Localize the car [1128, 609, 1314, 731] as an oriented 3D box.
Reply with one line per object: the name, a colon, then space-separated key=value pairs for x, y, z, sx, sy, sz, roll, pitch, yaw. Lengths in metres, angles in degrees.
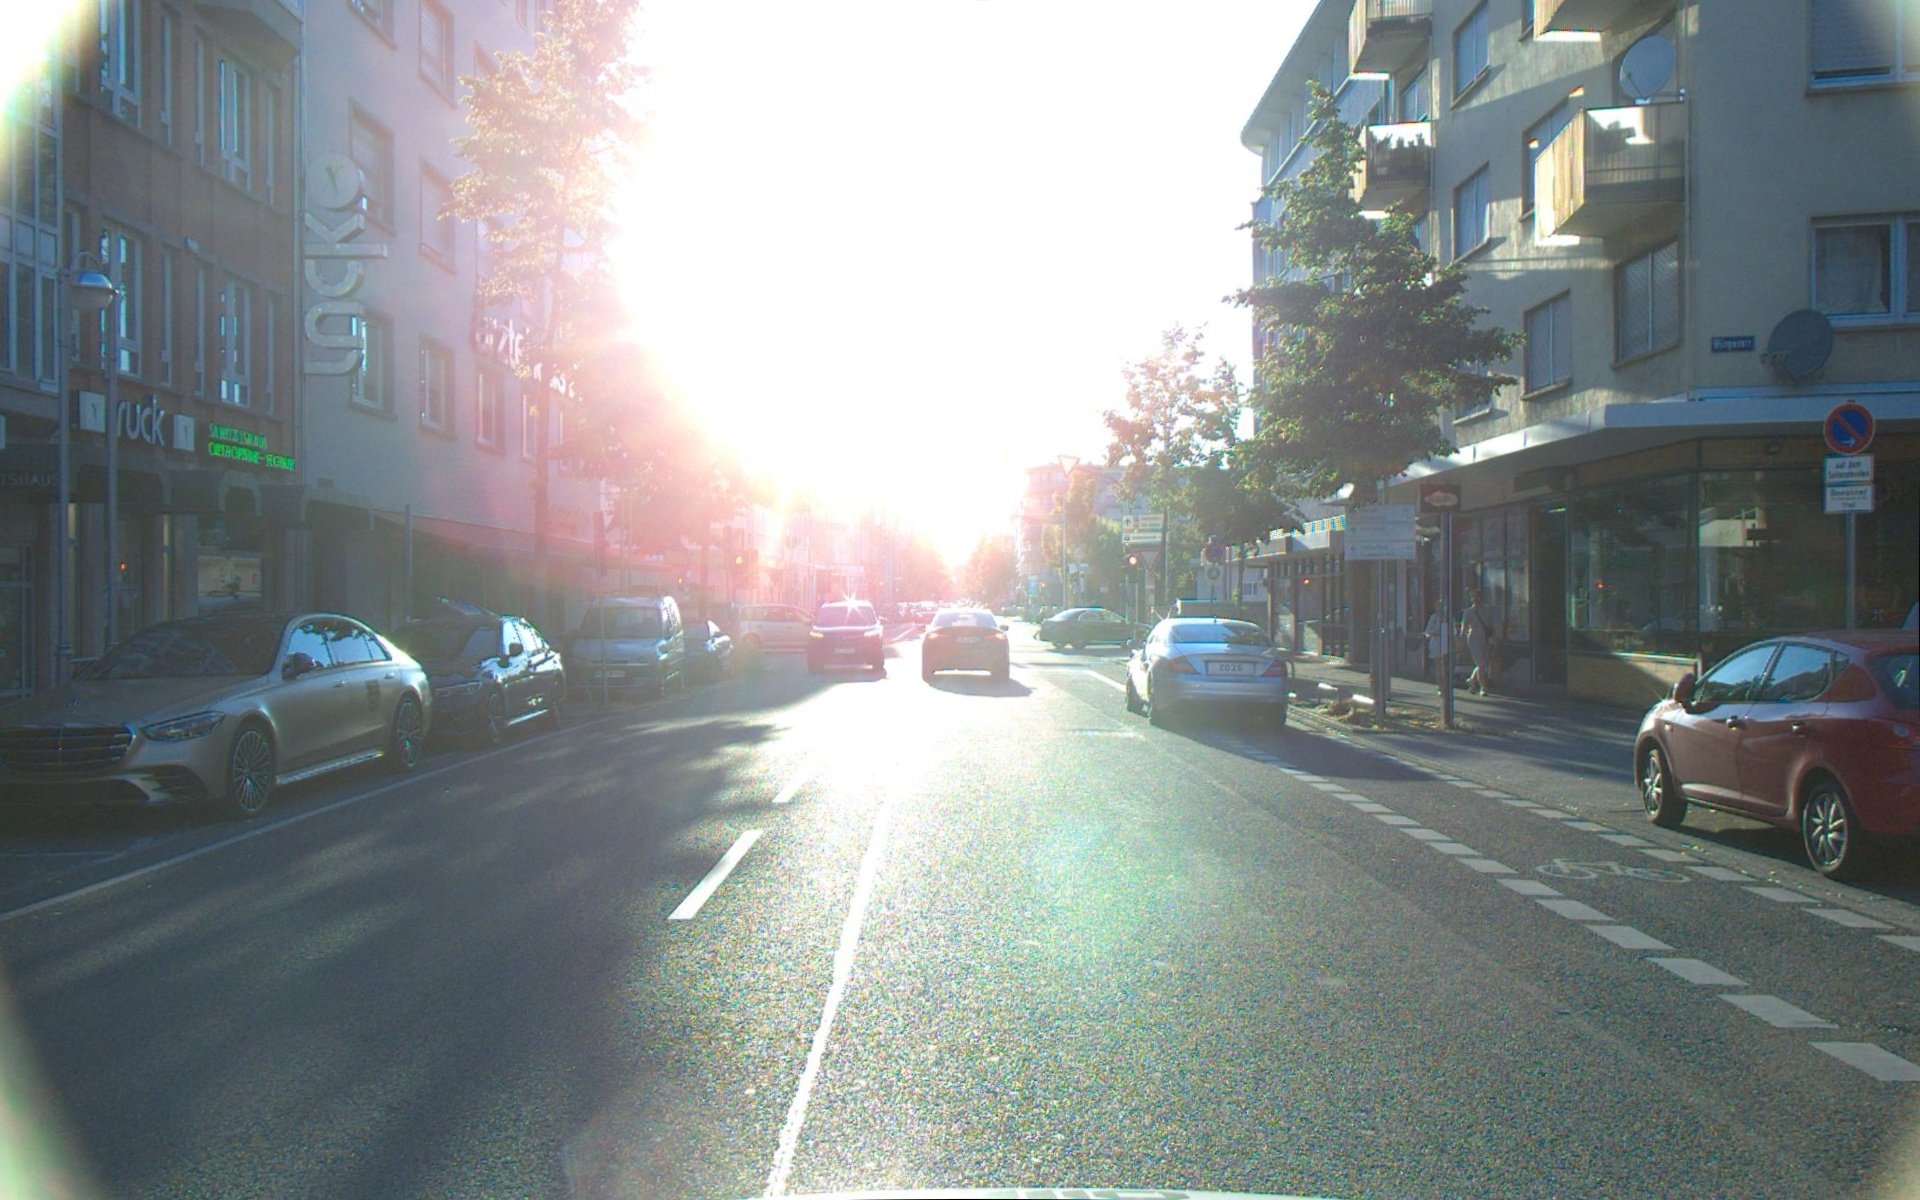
car: x=3.503 y=0.888 z=23.025 sx=1.882 sy=1.440 sz=4.548 roll=2 pitch=0 yaw=1

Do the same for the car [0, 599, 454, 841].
car: x=-5.970 y=0.819 z=13.800 sx=1.789 sy=1.583 sz=5.136 roll=-2 pitch=0 yaw=1

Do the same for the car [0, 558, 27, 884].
car: x=-6.278 y=0.714 z=6.919 sx=1.790 sy=1.842 sz=5.347 roll=-2 pitch=0 yaw=-2

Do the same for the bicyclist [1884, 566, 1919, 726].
bicyclist: x=10.823 y=0.497 z=18.176 sx=1.069 sy=1.732 sz=0.652 roll=0 pitch=0 yaw=20

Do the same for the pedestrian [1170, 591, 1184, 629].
pedestrian: x=10.281 y=0.470 z=78.442 sx=0.487 sy=1.745 sz=0.460 roll=0 pitch=1 yaw=-20

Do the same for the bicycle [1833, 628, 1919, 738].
bicycle: x=10.739 y=0.904 z=18.204 sx=1.886 sy=1.175 sz=0.652 roll=-2 pitch=-1 yaw=21

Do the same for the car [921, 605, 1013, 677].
car: x=0.158 y=0.830 z=35.526 sx=1.845 sy=1.440 sz=4.325 roll=1 pitch=0 yaw=1

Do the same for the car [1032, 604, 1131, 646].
car: x=4.432 y=0.895 z=60.478 sx=3.297 sy=1.451 sz=1.560 roll=0 pitch=1 yaw=-22

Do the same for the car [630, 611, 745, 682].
car: x=-5.724 y=0.949 z=35.119 sx=1.796 sy=1.351 sz=4.123 roll=-1 pitch=0 yaw=-1

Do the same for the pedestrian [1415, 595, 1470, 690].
pedestrian: x=8.229 y=0.716 z=28.240 sx=0.674 sy=1.586 sz=0.862 roll=0 pitch=0 yaw=-2

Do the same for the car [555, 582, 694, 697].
car: x=-5.836 y=0.659 z=29.210 sx=1.796 sy=1.887 sz=4.121 roll=0 pitch=0 yaw=-3

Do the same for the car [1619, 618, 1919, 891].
car: x=6.033 y=0.877 z=11.113 sx=1.668 sy=1.461 sz=3.932 roll=0 pitch=0 yaw=1

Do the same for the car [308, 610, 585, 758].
car: x=-5.892 y=0.890 z=19.603 sx=1.790 sy=1.464 sz=4.553 roll=-2 pitch=0 yaw=0

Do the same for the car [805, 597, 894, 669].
car: x=-2.691 y=0.774 z=41.115 sx=1.882 sy=1.630 sz=4.325 roll=0 pitch=1 yaw=1

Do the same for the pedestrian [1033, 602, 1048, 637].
pedestrian: x=3.872 y=0.920 z=79.688 sx=0.565 sy=1.673 sz=0.524 roll=0 pitch=1 yaw=-21

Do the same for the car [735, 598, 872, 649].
car: x=-5.305 y=0.773 z=56.006 sx=4.256 sy=1.630 sz=1.913 roll=0 pitch=1 yaw=-25

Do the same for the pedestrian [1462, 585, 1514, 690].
pedestrian: x=8.942 y=0.631 z=28.034 sx=0.673 sy=1.752 sz=0.717 roll=-1 pitch=0 yaw=6
